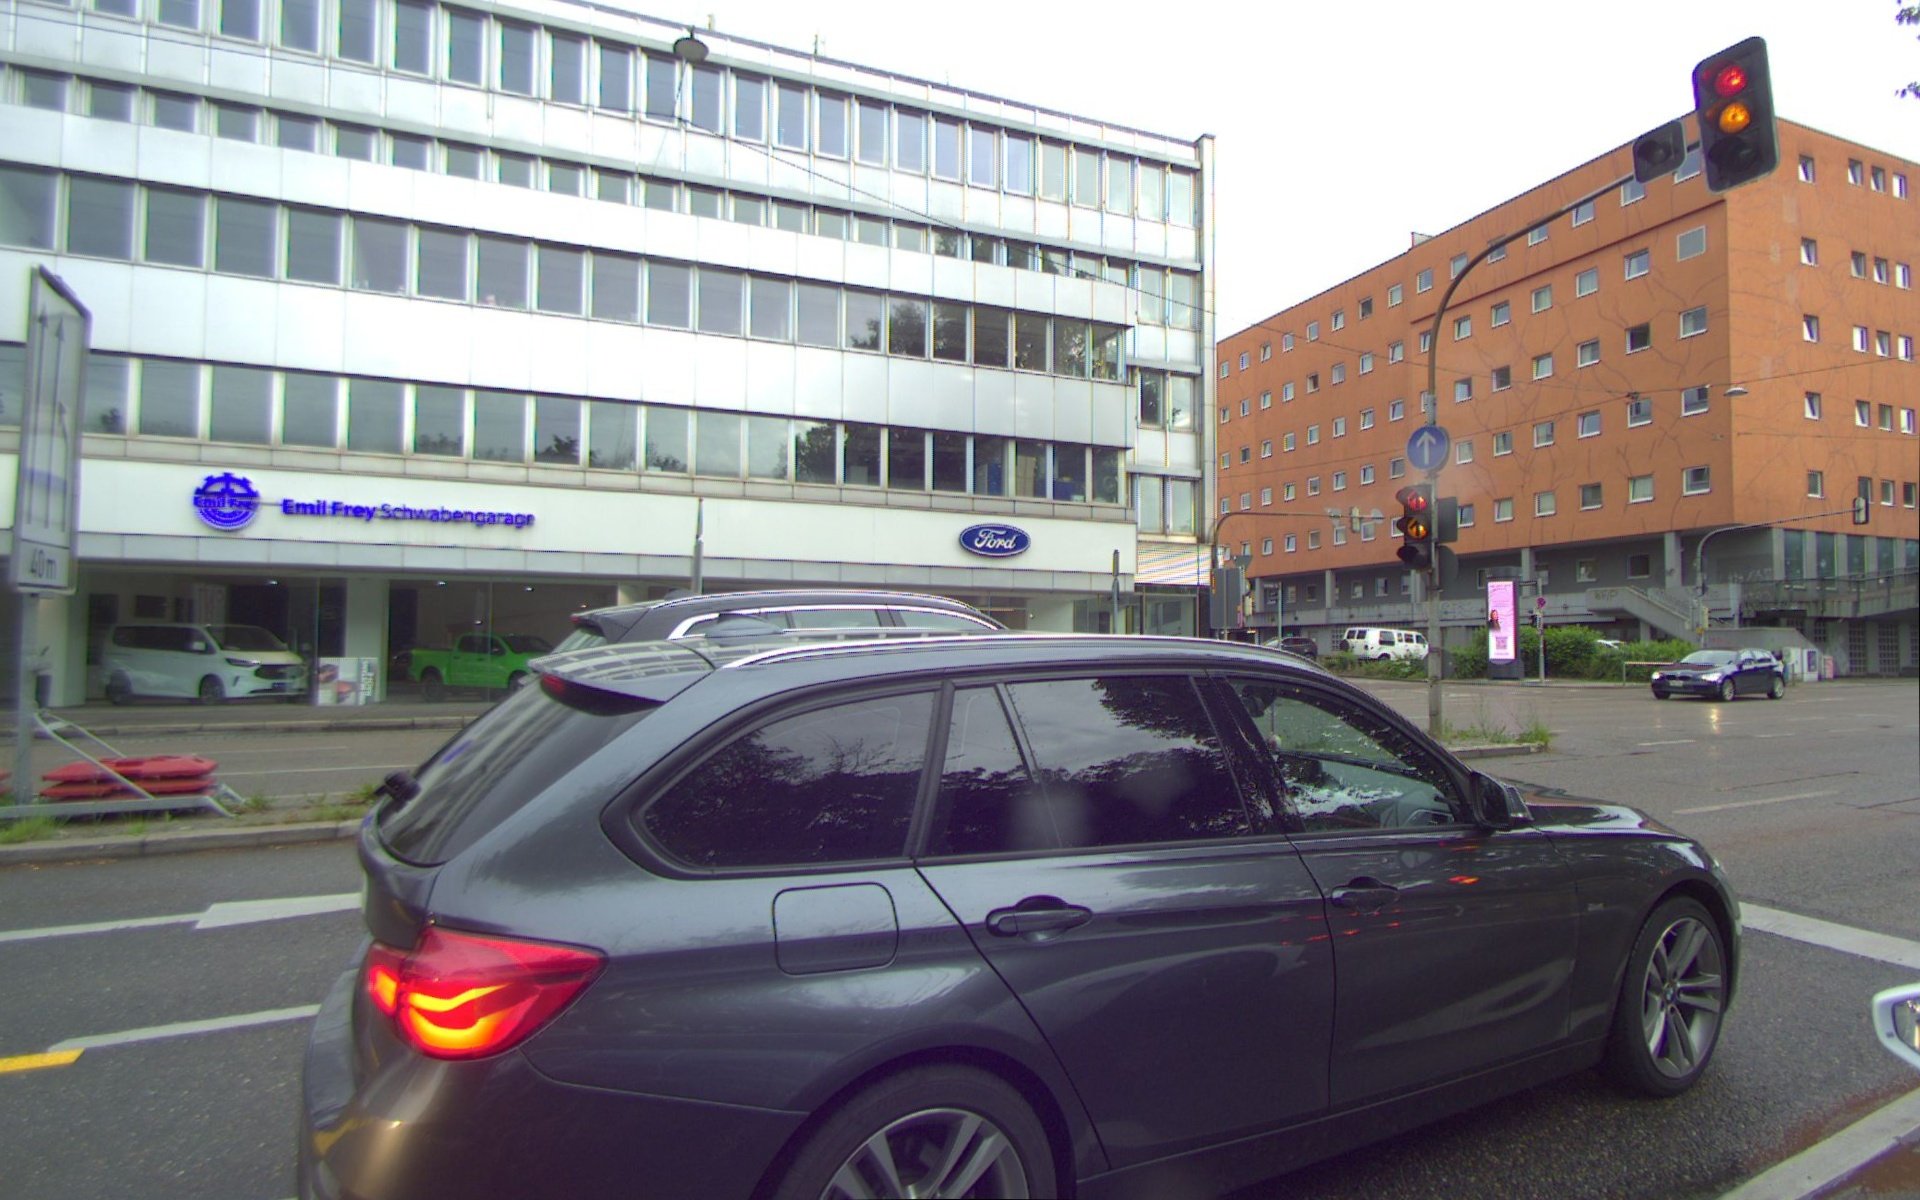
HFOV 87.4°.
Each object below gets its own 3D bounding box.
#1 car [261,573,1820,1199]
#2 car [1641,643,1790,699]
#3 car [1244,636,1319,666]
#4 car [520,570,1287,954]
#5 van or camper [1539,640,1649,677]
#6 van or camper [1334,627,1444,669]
[{"bbox_3d":[0.610,0.795,3.150,4.424,1.477,1.769,2,-3,-30],"label":"car"},{"bbox_3d":[20.831,1.934,27.677,4.162,1.437,1.679,2,-3,-28],"label":"car"},{"bbox_3d":[18.916,2.989,59.078,4.027,1.633,1.706,2,0,-23],"label":"car"},{"bbox_3d":[-0.260,0.765,6.234,4.389,1.678,1.802,2,0,-28],"label":"car"},{"bbox_3d":[29.411,2.690,46.750,1.887,1.648,3.978,1,-2,-23],"label":"van or camper"},{"bbox_3d":[22.368,2.515,52.388,5.376,2.004,2.121,2,0,-23],"label":"van or camper"}]
